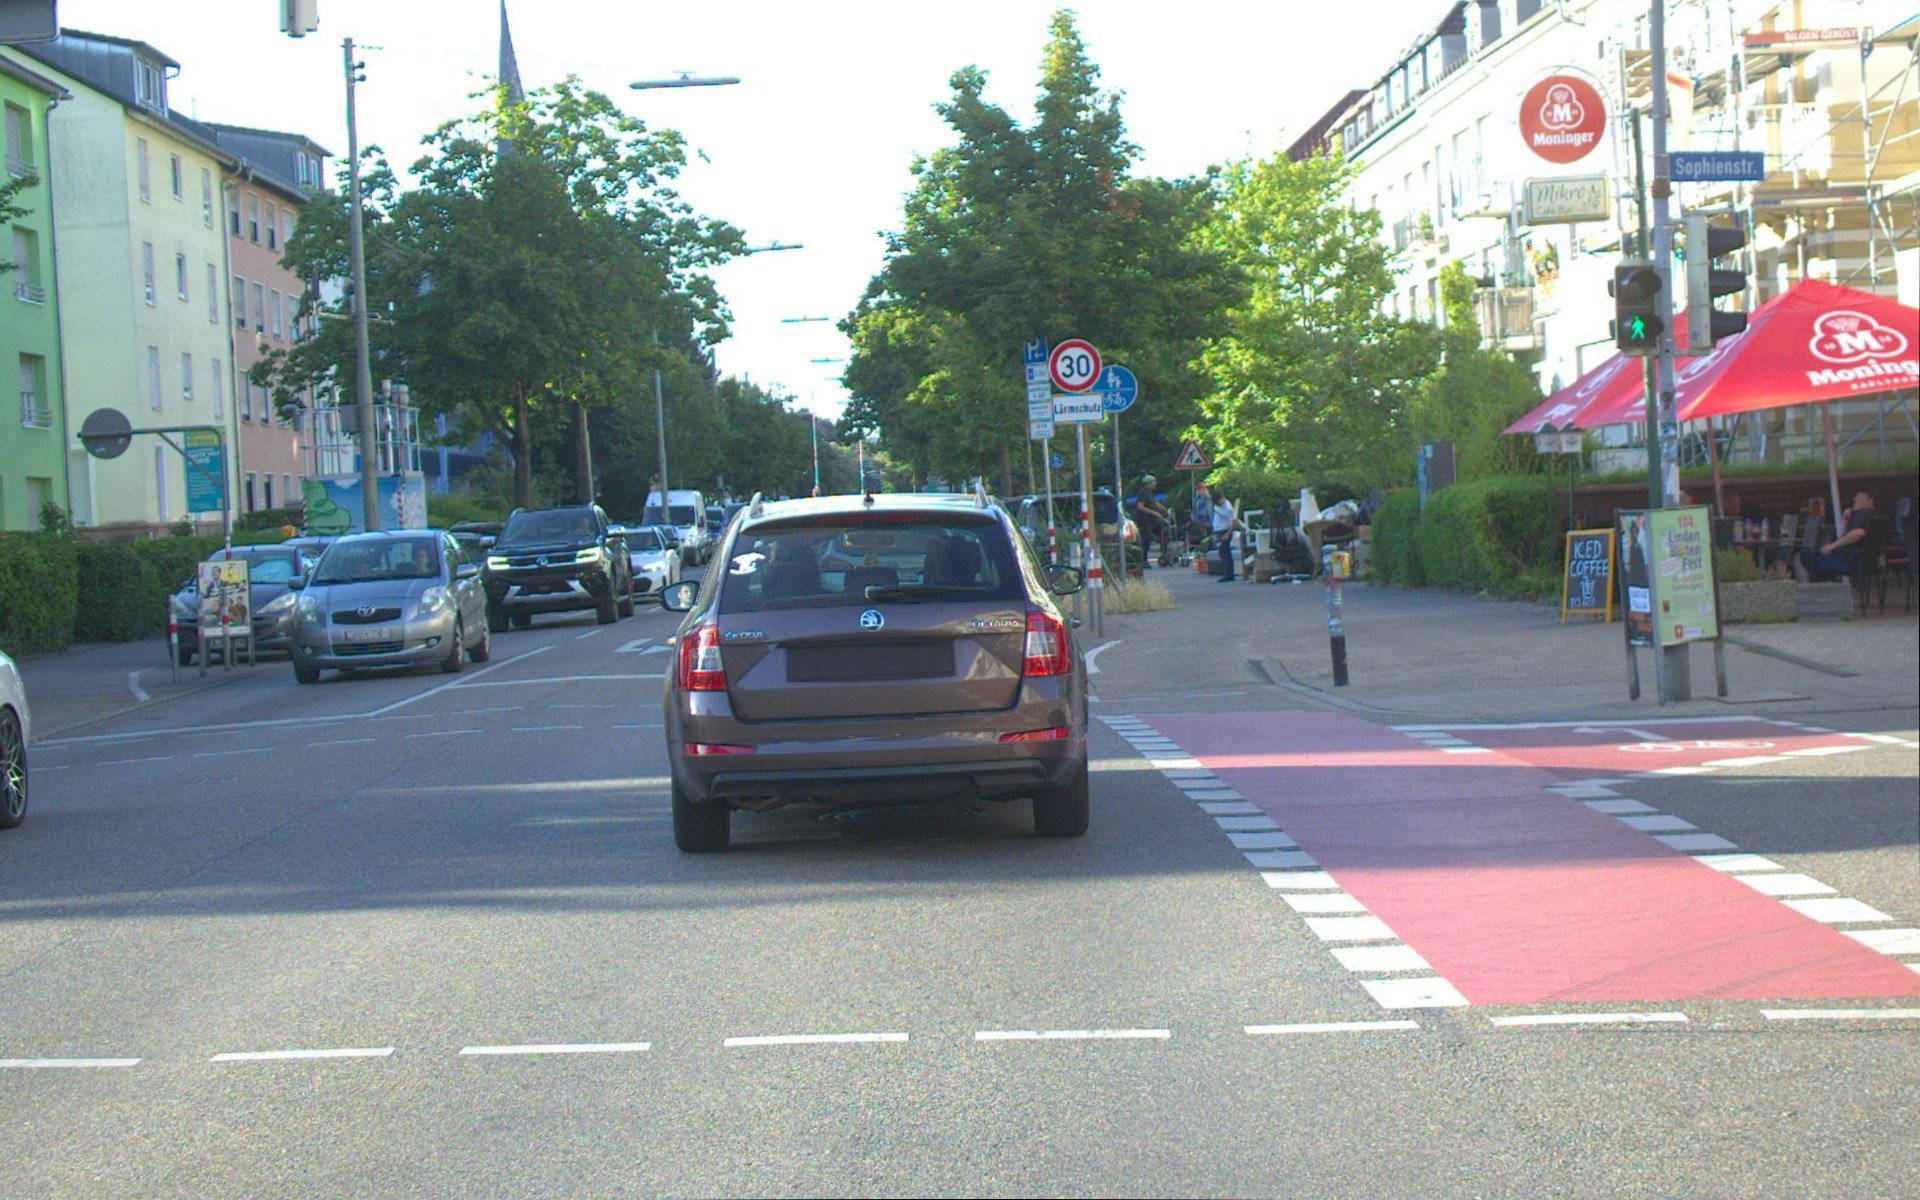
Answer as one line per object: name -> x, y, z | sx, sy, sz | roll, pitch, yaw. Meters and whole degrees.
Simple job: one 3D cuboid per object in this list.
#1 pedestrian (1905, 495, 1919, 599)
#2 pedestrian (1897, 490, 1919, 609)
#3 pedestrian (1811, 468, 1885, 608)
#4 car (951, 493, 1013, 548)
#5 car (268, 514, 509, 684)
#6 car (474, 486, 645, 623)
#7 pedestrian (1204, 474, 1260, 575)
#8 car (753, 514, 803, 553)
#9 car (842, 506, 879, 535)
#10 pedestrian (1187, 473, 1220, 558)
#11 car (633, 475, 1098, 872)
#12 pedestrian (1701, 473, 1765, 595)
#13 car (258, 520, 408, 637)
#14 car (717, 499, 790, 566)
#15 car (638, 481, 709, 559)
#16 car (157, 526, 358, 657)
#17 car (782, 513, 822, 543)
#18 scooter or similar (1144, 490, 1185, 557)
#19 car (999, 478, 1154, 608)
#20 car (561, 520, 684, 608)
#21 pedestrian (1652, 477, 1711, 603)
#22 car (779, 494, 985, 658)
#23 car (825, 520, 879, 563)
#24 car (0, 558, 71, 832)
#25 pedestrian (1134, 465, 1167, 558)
pedestrian -> 9.911, -0.550, 34.862 | 0.524, 1.045, 0.413 | -2, 1, 5
pedestrian -> 9.426, -0.498, 33.411 | 0.524, 1.146, 0.413 | -2, 1, 5
pedestrian -> 8.342, -0.584, 32.292 | 0.524, 1.278, 0.540 | -2, 1, 1
car -> 0.658, -2.473, 106.890 | 1.718, 1.595, 4.097 | -3, 2, -1
car -> -5.931, -0.059, 36.107 | 1.804, 1.552, 4.000 | -4, 2, -1
car -> -6.015, -0.728, 52.211 | 1.862, 1.823, 5.228 | -4, 2, 0
pedestrian -> 4.321, -1.198, 54.630 | 0.555, 1.562, 0.748 | -3, 2, -19
car -> -7.655, -2.813, 144.886 | 1.832, 1.465, 4.452 | -6, 2, -1
car -> -6.412, -5.095, 220.632 | 1.993, 1.744, 4.001 | -3, 2, -6
pedestrian -> 4.926, -1.700, 69.545 | 0.510, 1.691, 0.527 | -3, 2, -5
car -> -0.341, 0.224, 15.198 | 1.754, 1.487, 4.000 | -1, 2, 1
pedestrian -> 7.460, -0.638, 33.200 | 0.486, 1.146, 0.526 | -2, 1, 3
car -> -9.067, -0.350, 49.963 | 1.637, 1.546, 3.787 | -3, 2, -4
car -> -6.525, -2.162, 109.063 | 1.993, 1.939, 4.778 | -5, 2, -1
car -> -9.946, -2.815, 119.773 | 1.993, 2.607, 7.106 | -2, 2, -2
car -> -8.842, -0.146, 43.544 | 1.653, 1.474, 3.943 | -3, 2, 0
car -> -8.392, -3.840, 182.621 | 1.700, 1.465, 4.294 | -4, 2, 2
scooter or similar -> 4.125, -1.549, 69.250 | 0.746, 1.312, 0.721 | -2, 2, 6
car -> 1.554, -0.811, 47.253 | 1.792, 1.626, 4.030 | -3, 2, -2
car -> -6.359, -0.712, 65.245 | 1.836, 1.468, 4.672 | -4, 2, -1
pedestrian -> 6.747, -0.565, 32.171 | 0.412, 1.146, 0.631 | -2, 1, 3
car -> -0.771, -0.243, 33.853 | 1.892, 1.501, 3.790 | 1, 1, -1
car -> -3.912, -2.110, 123.888 | 1.780, 1.475, 3.972 | -1, 2, -4
car -> -5.625, 0.552, 15.911 | 1.841, 1.315, 4.442 | -3, 2, -1
pedestrian -> 3.844, -1.794, 69.268 | 0.548, 1.843, 0.764 | -2, 2, 6
